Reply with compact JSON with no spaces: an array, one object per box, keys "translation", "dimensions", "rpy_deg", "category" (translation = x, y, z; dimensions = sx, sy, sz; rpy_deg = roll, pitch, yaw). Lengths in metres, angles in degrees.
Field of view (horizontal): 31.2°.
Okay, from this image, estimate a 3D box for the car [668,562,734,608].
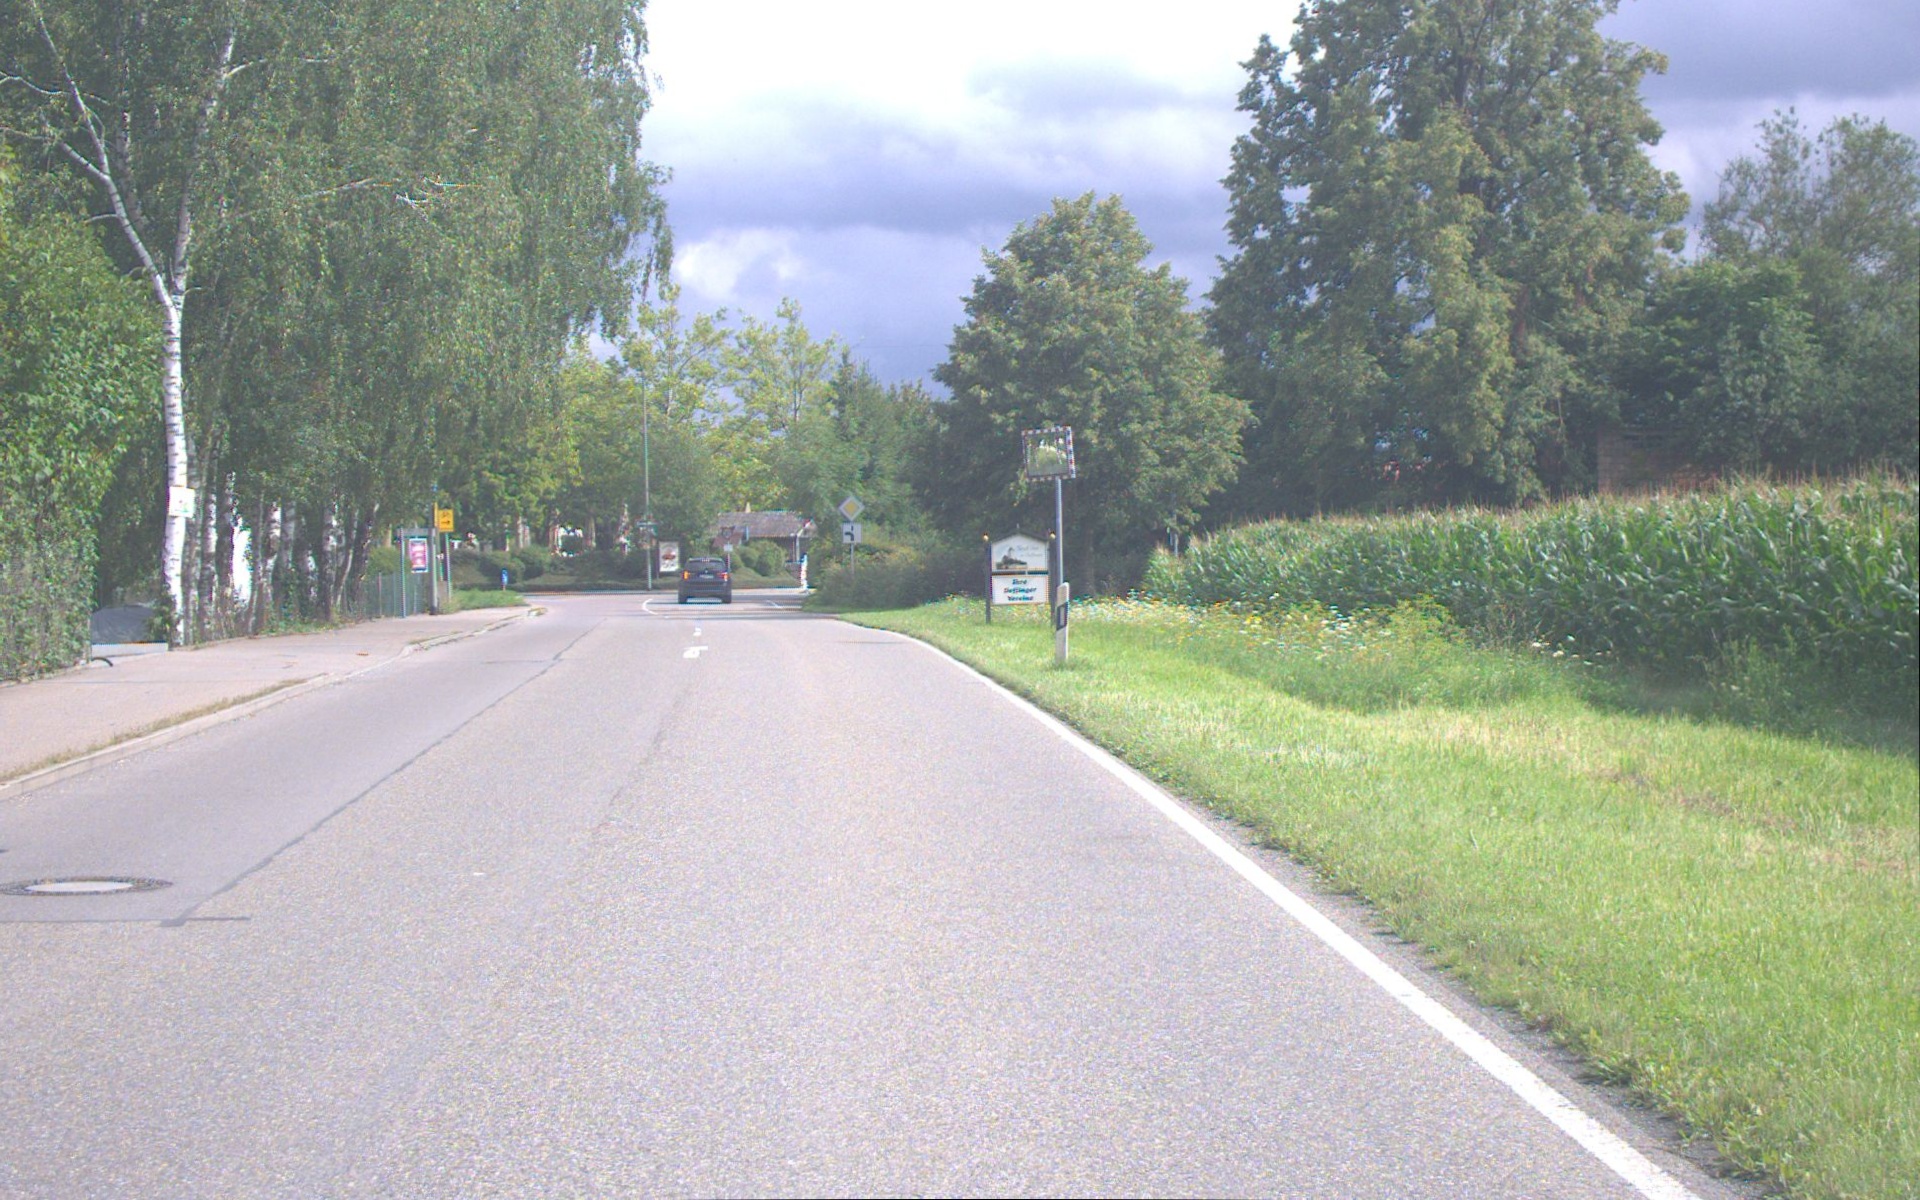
[{"translation":[-9.433,-0.561,124.996],"dimensions":[1.993,1.579,4.001],"rpy_deg":[0,1,-10],"category":"car"}]
